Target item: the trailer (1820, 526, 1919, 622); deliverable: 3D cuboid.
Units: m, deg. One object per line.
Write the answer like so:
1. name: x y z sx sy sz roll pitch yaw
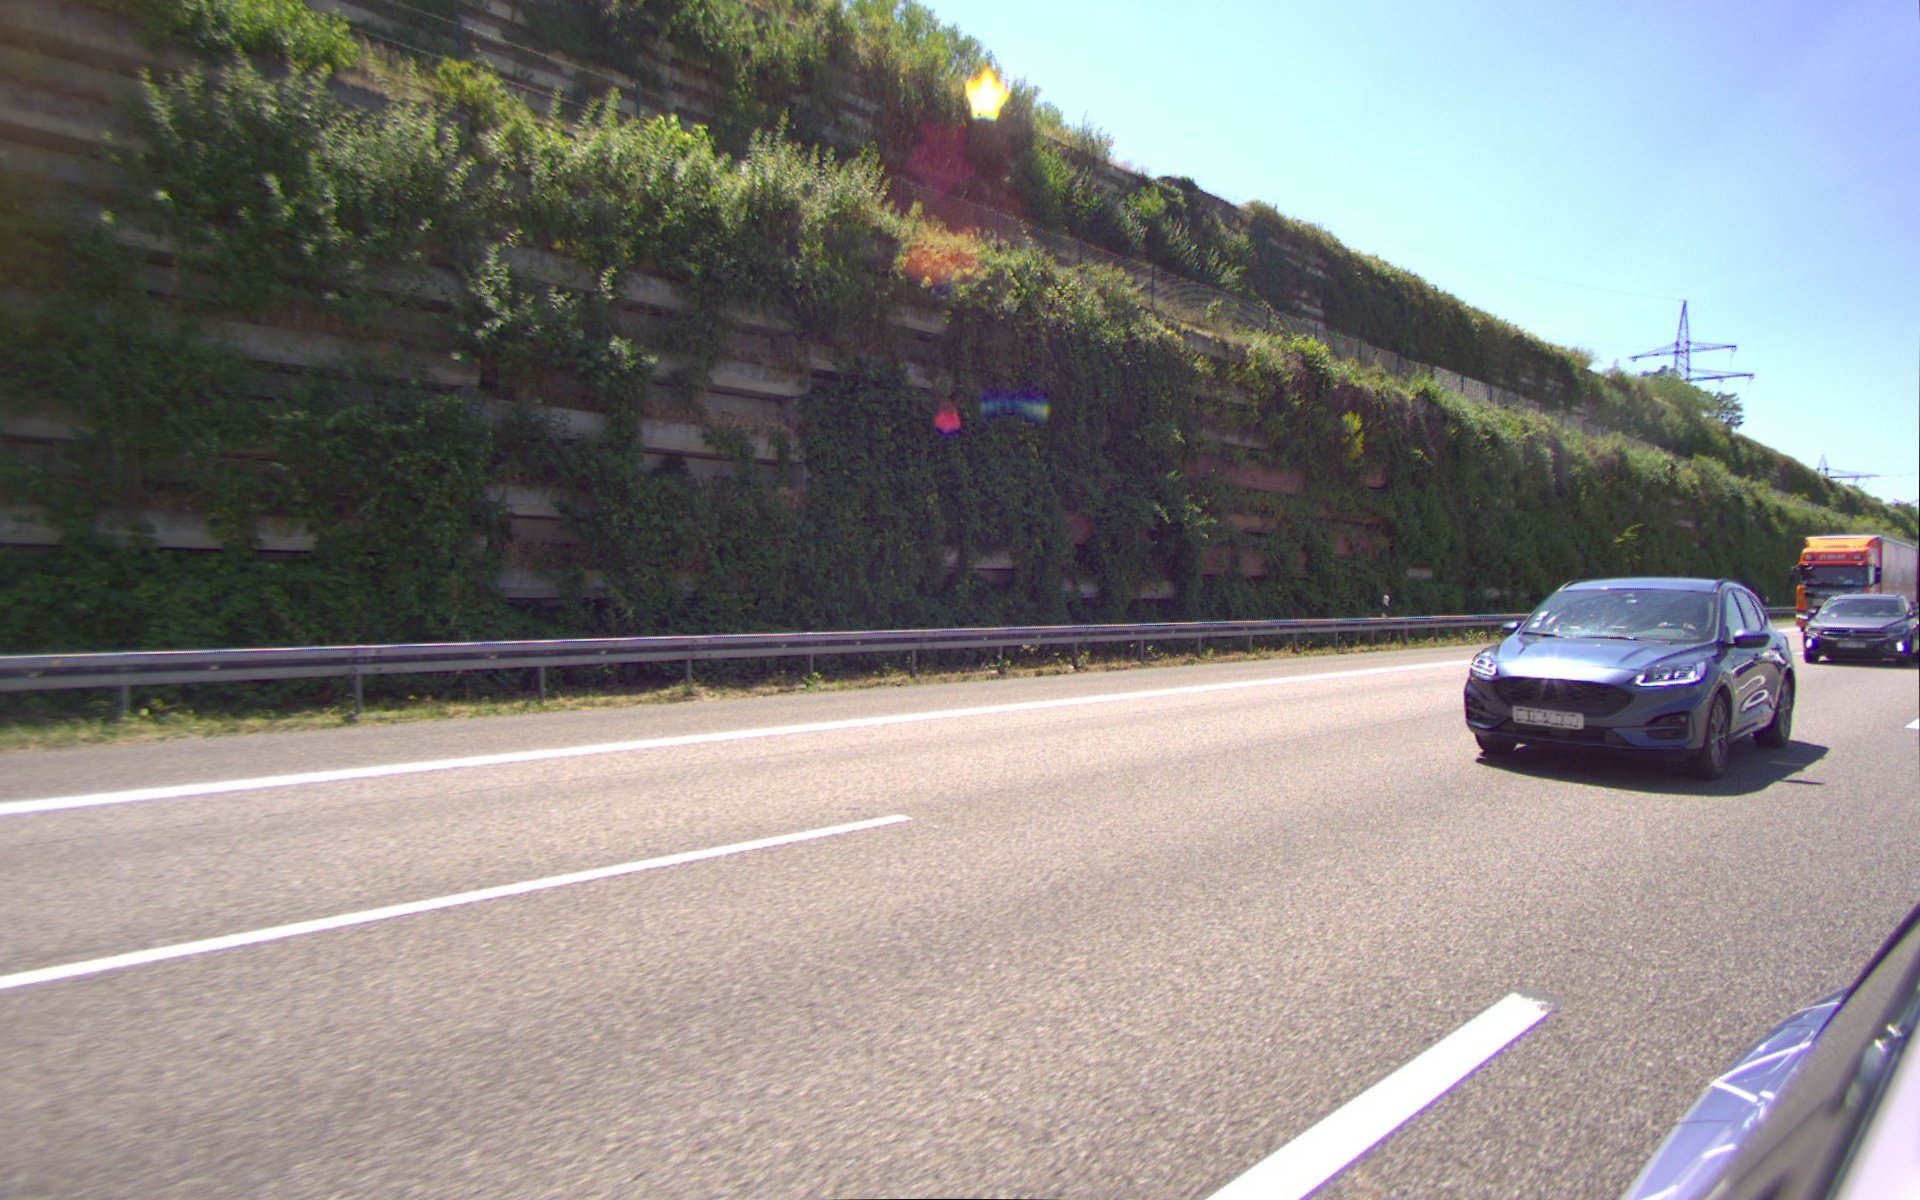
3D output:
1. trailer: 43.812 -1.160 48.115 13.371 4.055 2.649 0 1 -42

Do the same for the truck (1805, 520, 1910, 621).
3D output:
1. truck: 38.657 -1.213 43.525 6.414 4.042 2.622 0 1 -42

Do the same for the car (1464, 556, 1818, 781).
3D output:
1. car: 6.544 0.475 9.560 4.066 1.674 1.797 0 1 -41

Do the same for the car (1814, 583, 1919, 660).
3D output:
1. car: 20.669 0.415 22.708 3.927 1.544 1.752 -1 2 -42
